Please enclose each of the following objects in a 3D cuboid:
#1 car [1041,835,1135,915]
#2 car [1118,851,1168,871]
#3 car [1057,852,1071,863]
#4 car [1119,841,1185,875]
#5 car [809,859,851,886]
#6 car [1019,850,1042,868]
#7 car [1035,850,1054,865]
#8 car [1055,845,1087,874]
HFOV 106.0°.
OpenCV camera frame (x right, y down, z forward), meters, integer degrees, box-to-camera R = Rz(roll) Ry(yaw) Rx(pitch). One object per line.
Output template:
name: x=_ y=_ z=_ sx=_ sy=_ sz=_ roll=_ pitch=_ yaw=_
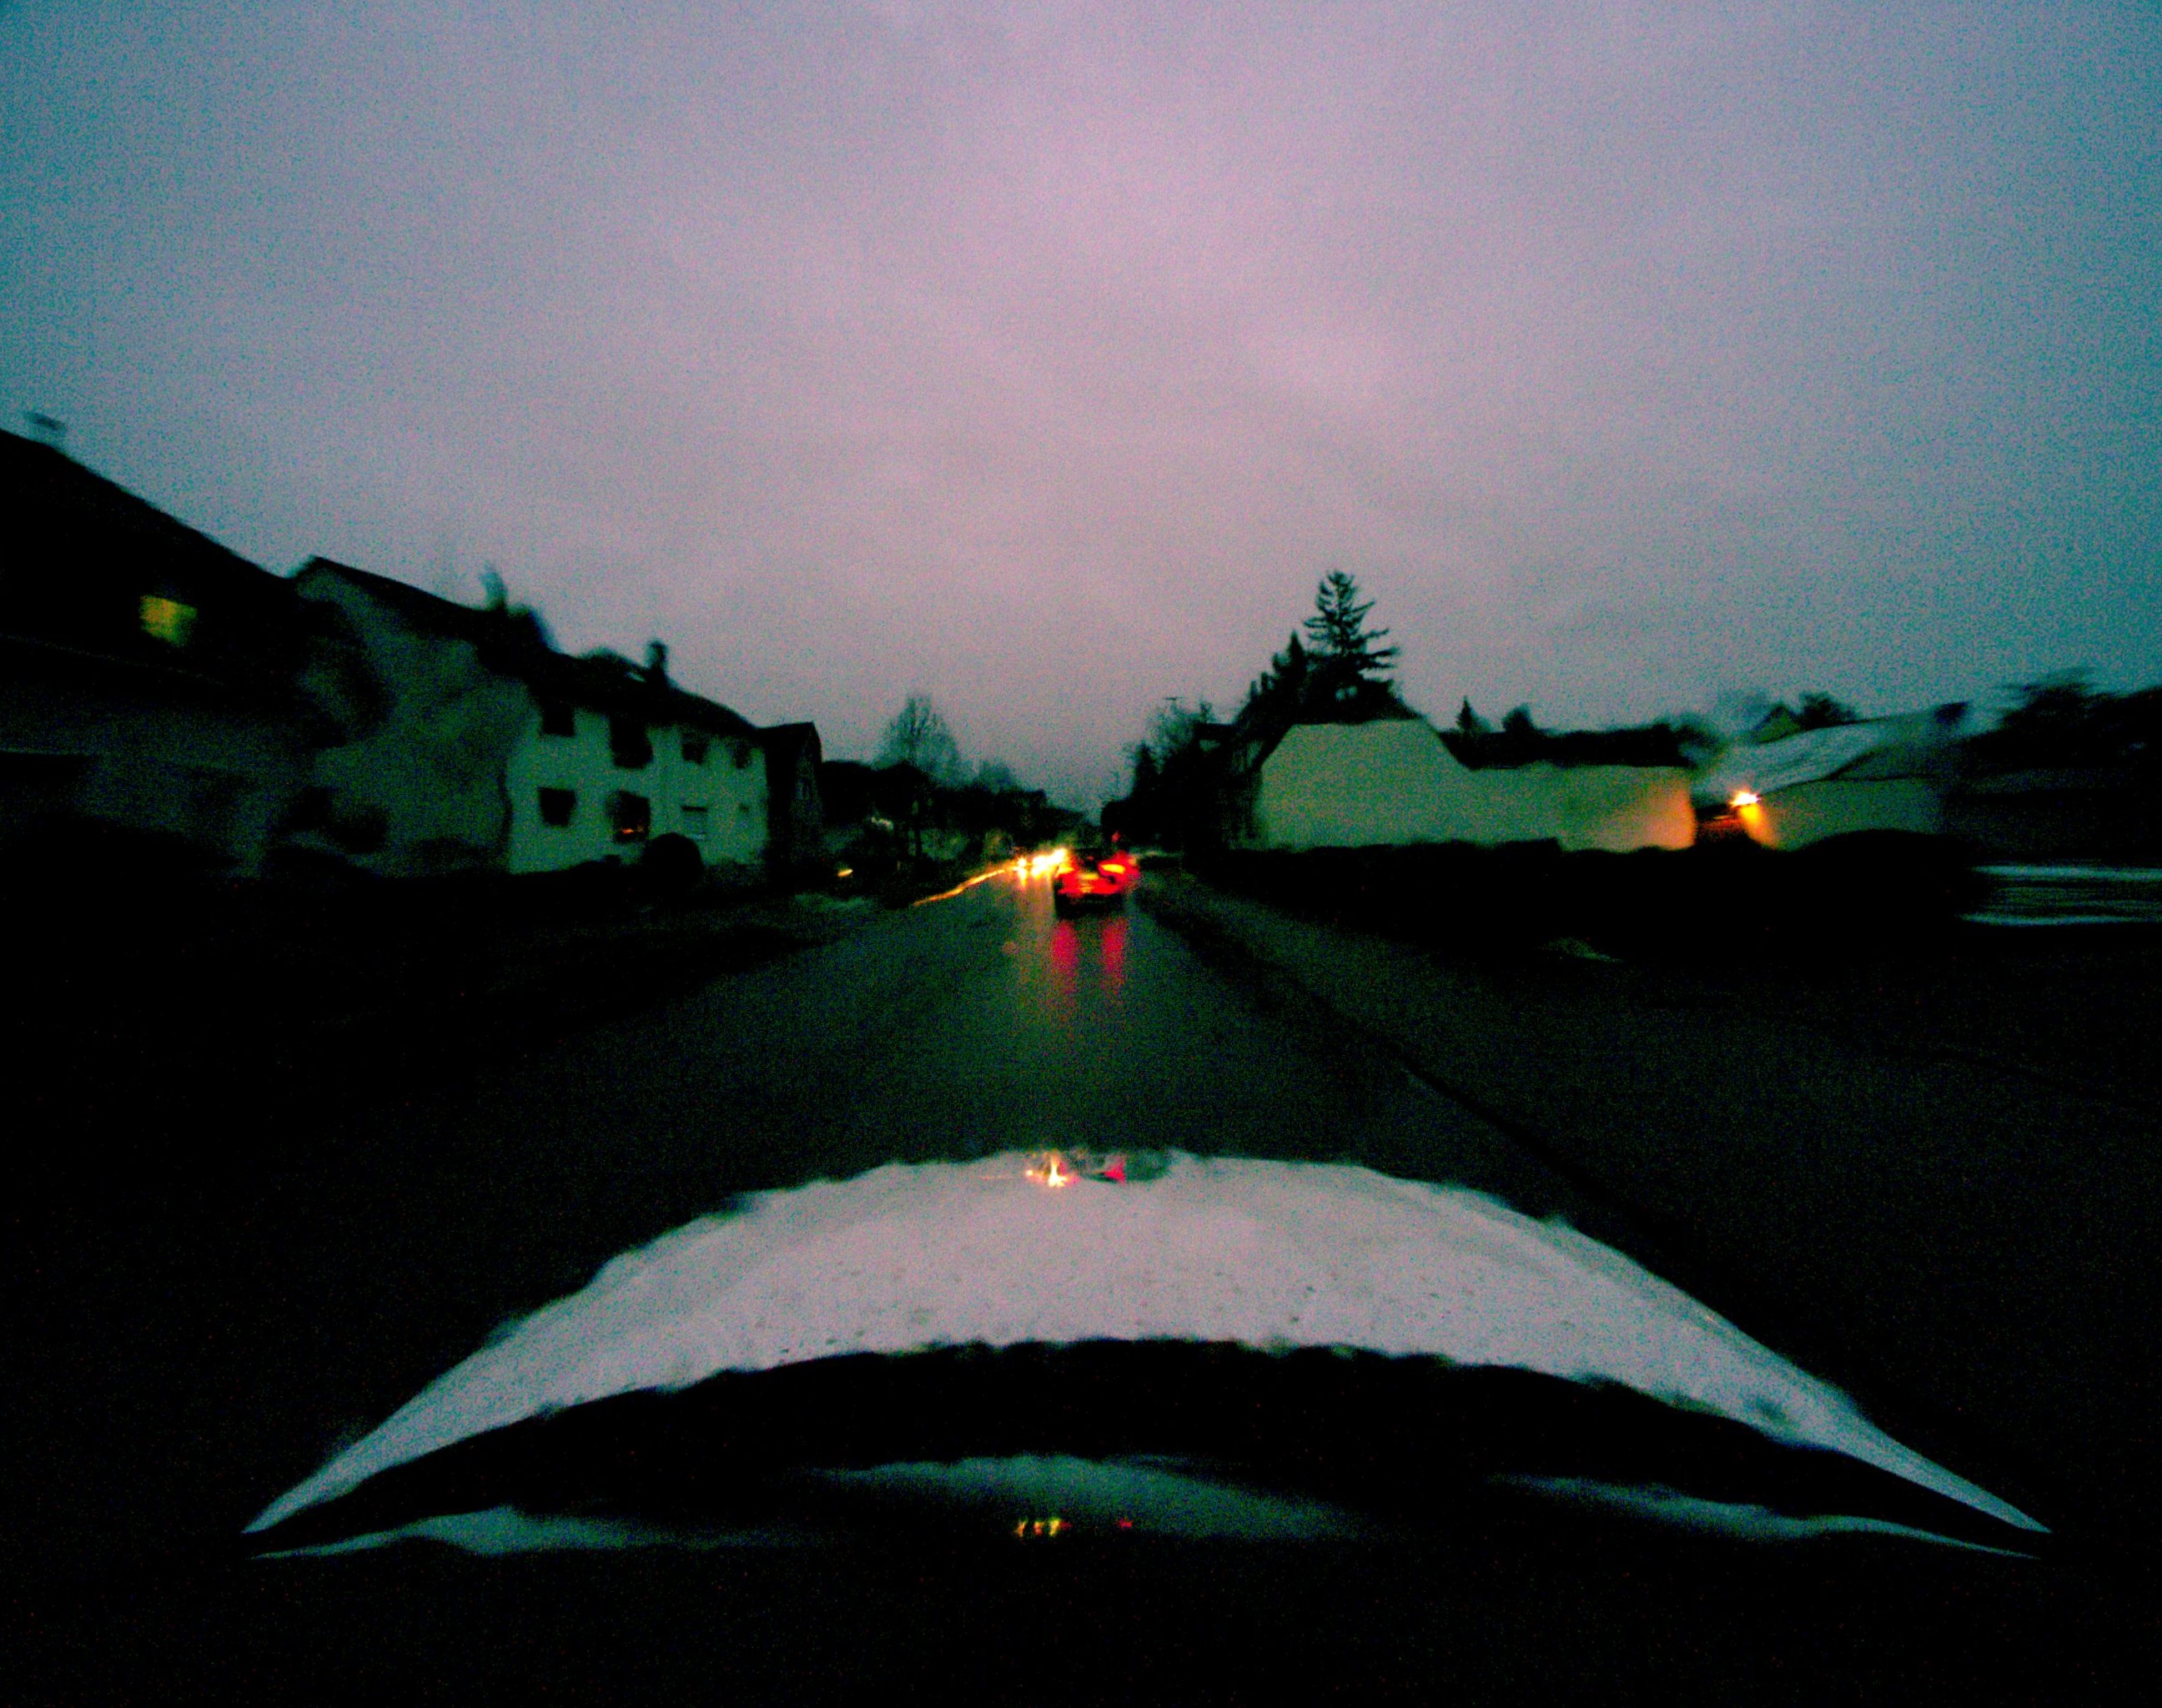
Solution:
car: x=0.106 y=0.538 z=22.908 sx=2.303 sy=1.938 sz=5.014 roll=-2 pitch=0 yaw=-2
car: x=4.751 y=0.539 z=62.797 sx=3.755 sy=1.390 sz=1.765 roll=-2 pitch=0 yaw=0
car: x=-2.307 y=0.476 z=110.995 sx=1.836 sy=1.331 sz=3.937 roll=-2 pitch=0 yaw=0
car: x=4.684 y=0.256 z=53.944 sx=4.229 sy=2.013 sz=1.812 roll=-2 pitch=0 yaw=3
car: x=-13.894 y=0.994 z=45.237 sx=1.778 sy=1.393 sz=3.984 roll=0 pitch=0 yaw=-11
car: x=-4.854 y=0.506 z=78.512 sx=1.907 sy=1.522 sz=3.999 roll=-2 pitch=2 yaw=-1
car: x=-4.174 y=0.429 z=93.470 sx=1.906 sy=1.431 sz=4.002 roll=-2 pitch=3 yaw=1
car: x=-0.614 y=0.319 z=49.302 sx=1.853 sy=1.647 sz=3.998 roll=-1 pitch=1 yaw=-2
